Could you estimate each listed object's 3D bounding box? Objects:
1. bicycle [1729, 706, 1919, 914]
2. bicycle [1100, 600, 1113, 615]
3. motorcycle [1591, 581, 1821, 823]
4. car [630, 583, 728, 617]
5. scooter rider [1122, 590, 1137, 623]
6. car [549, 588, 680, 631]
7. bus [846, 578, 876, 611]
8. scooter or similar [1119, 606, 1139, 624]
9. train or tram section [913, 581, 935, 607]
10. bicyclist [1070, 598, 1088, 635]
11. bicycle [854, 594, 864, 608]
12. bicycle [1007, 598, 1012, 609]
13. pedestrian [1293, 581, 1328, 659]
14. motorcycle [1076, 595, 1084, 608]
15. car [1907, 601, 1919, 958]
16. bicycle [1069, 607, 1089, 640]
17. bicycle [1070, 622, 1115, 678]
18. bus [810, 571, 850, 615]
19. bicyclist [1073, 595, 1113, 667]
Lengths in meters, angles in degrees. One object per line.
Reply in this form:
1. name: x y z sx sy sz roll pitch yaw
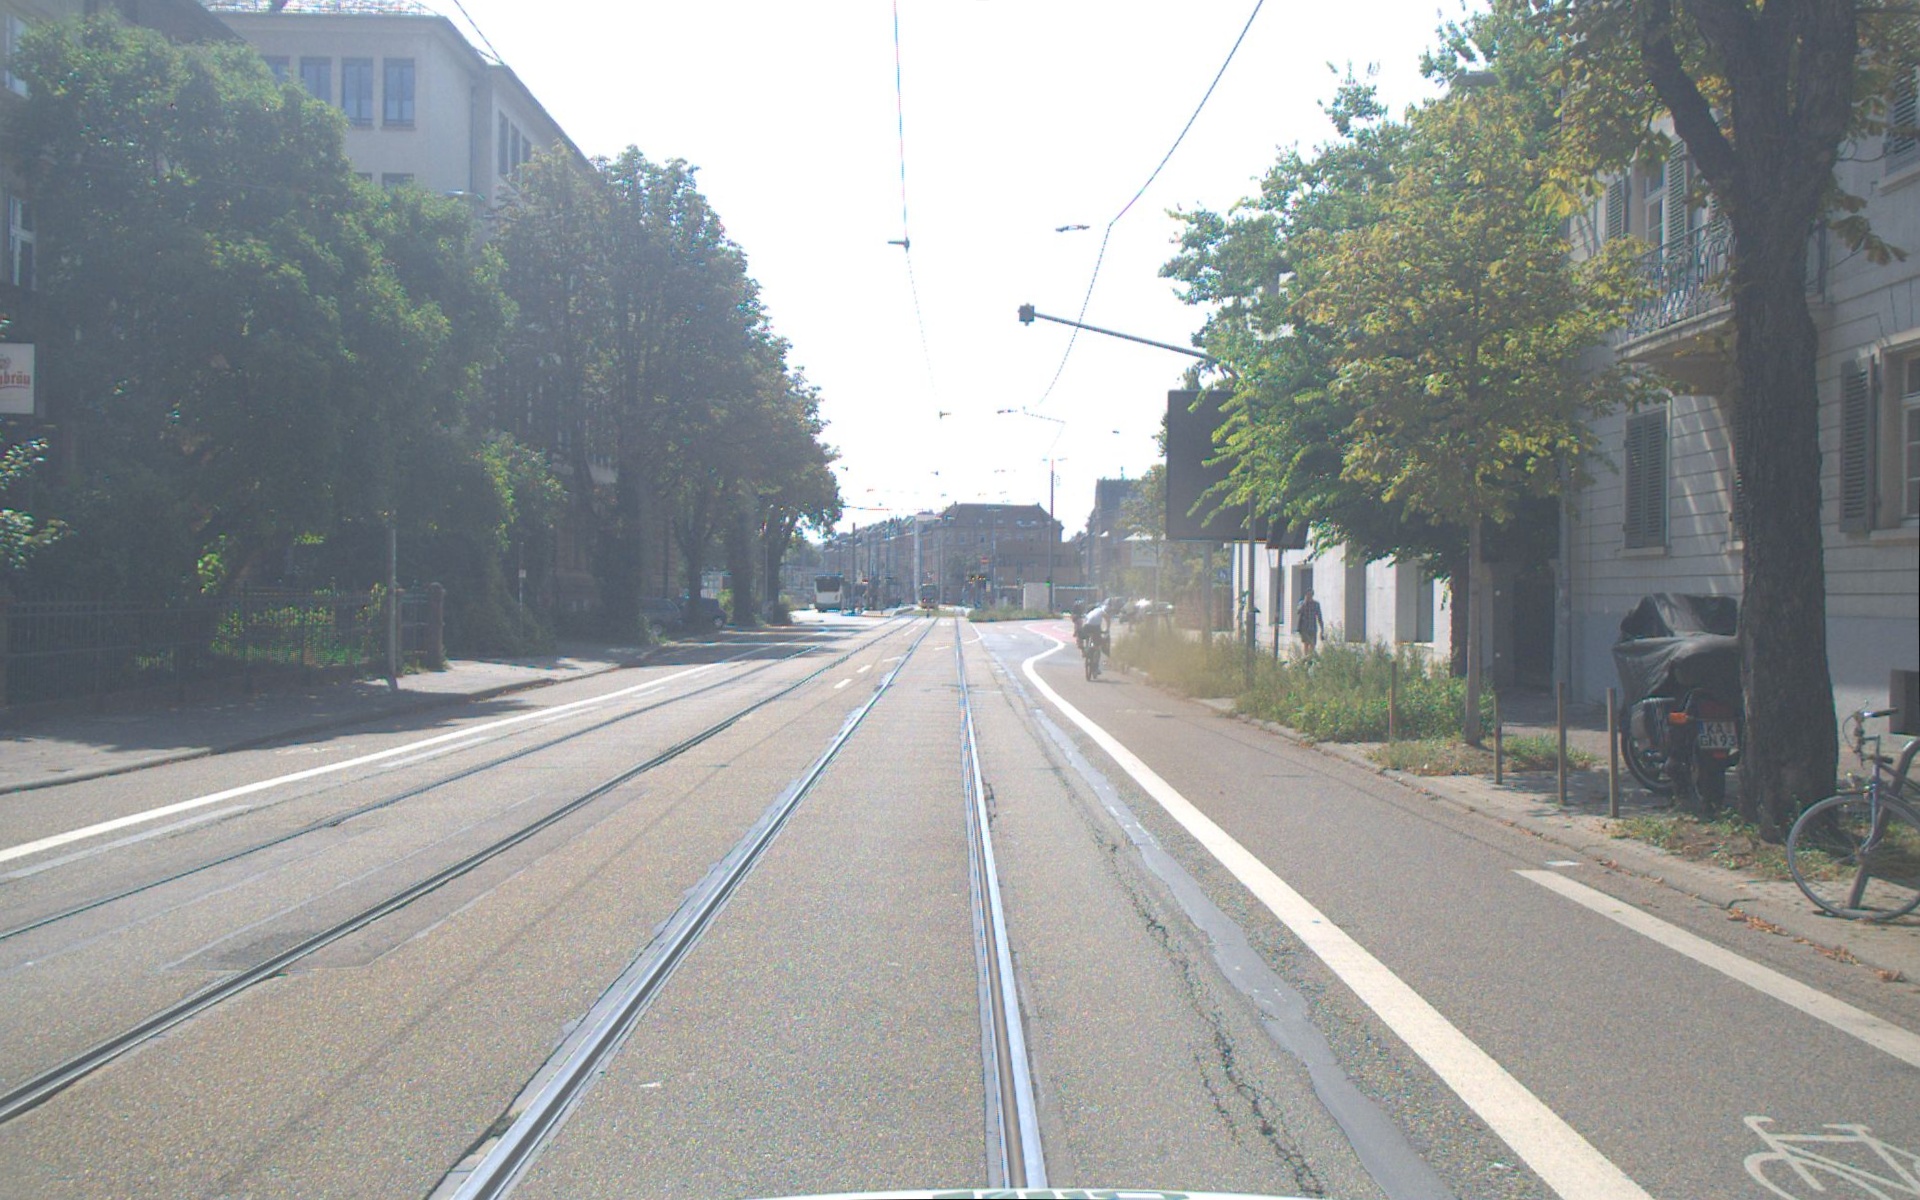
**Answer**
1. bicycle: 5.058 1.064 8.490 1.882 0.969 0.721 1 0 3
2. bicycle: 11.163 0.574 125.835 0.435 1.136 1.444 0 0 27
3. motorcycle: 5.368 0.668 12.095 0.867 1.580 2.414 0 0 7
4. car: -12.887 0.013 75.984 4.120 1.522 1.797 0 1 -38
5. scooter rider: 9.445 0.360 92.304 0.746 1.806 0.555 1 0 17
6. car: -12.651 0.354 60.599 4.363 1.487 1.805 1 0 -27
7. bus: -11.774 -0.675 198.077 2.654 3.792 10.420 1 0 1
8. scooter or similar: 9.441 0.819 92.340 0.756 0.942 1.621 1 1 17
9. train or tram section: -5.202 -0.849 241.633 2.798 3.610 17.740 1 0 -1
10. bicyclist: 4.375 0.600 60.702 0.590 1.358 0.660 1 0 8
11. bicycle: -8.511 0.081 139.283 0.594 1.244 1.706 1 0 4
12. bicycle: 4.735 0.328 157.567 0.454 1.051 1.548 1 0 1
13. pedestrian: 7.945 0.444 37.516 0.677 1.762 0.579 0 0 2
14. motorcycle: 11.820 0.150 163.016 0.591 1.232 2.255 1 0 10
15. car: 4.941 0.757 4.599 1.747 1.476 4.749 0 0 -3
16. bicycle: 4.371 0.859 60.678 0.591 1.183 1.812 1 0 8
17. bicycle: 2.740 1.013 34.341 0.724 1.067 2.233 1 0 0
18. bus: -11.895 -0.608 152.574 2.898 3.840 10.594 1 0 -1
19. bicyclist: 2.744 0.633 34.283 0.729 1.436 0.962 1 0 0
